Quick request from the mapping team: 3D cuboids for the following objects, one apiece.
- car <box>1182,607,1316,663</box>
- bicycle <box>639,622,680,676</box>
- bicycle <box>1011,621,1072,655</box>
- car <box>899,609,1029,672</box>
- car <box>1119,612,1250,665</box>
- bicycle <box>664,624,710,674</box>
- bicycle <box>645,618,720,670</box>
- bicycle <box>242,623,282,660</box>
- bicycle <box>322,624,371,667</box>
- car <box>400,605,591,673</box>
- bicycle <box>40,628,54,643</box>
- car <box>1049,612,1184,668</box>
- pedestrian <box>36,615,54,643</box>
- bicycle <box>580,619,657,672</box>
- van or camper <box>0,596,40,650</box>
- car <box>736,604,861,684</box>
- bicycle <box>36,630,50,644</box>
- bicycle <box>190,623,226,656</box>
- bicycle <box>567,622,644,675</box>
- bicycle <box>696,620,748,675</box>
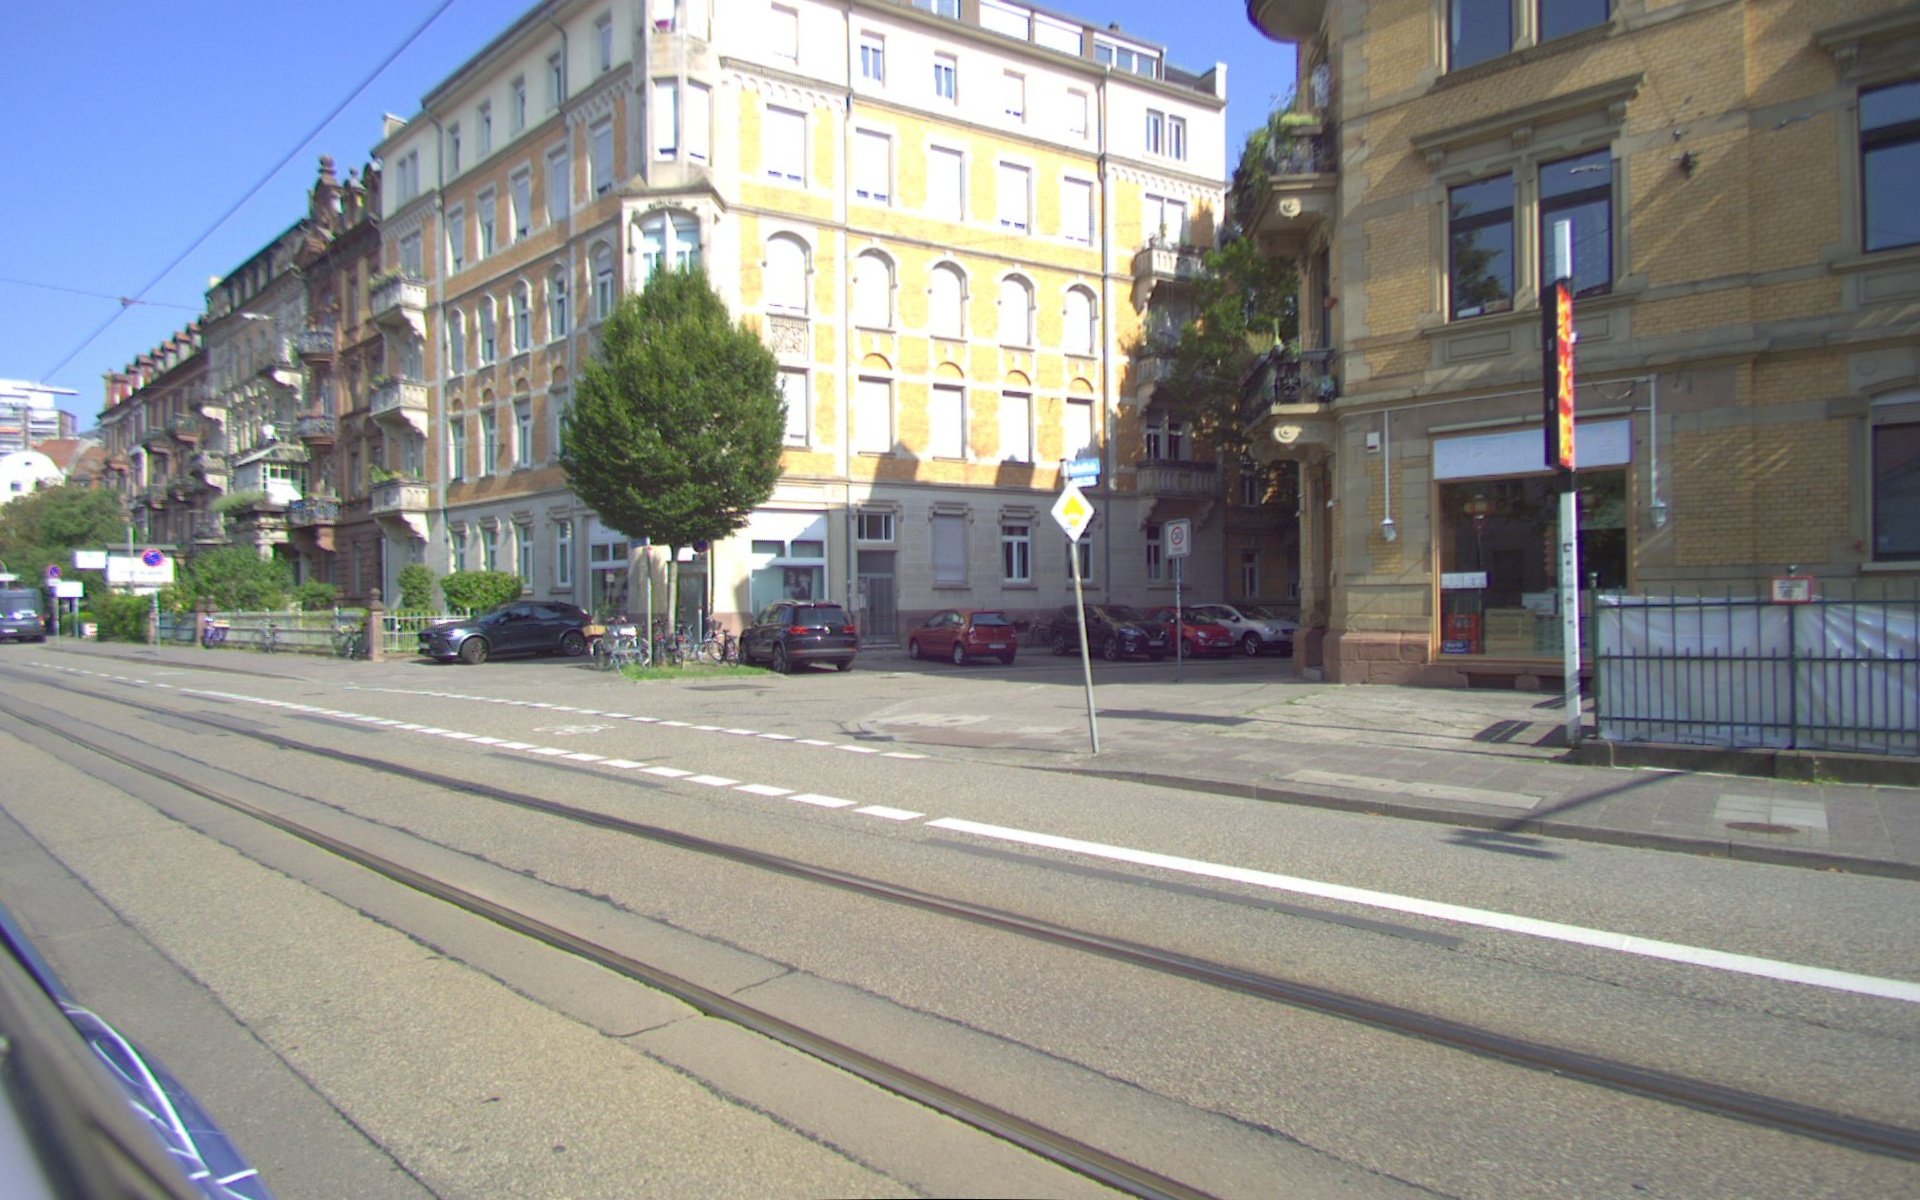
[{"bbox_3d":[8.948,1.063,31.648,1.738,1.618,3.902,0,-1,-30],"label":"car"},{"bbox_3d":[-6.878,1.099,23.099,0.475,1.168,1.778,0,-1,-30],"label":"bicycle"},{"bbox_3d":[2.661,1.236,33.056,1.977,1.076,0.595,0,-1,-29],"label":"bicycle"},{"bbox_3d":[0.034,1.039,27.217,1.738,1.538,3.779,0,-1,-32],"label":"car"},{"bbox_3d":[6.708,1.116,30.574,1.738,1.466,3.779,0,-1,-32],"label":"car"},{"bbox_3d":[-6.344,1.119,23.432,0.534,1.098,1.842,0,-1,-31],"label":"bicycle"},{"bbox_3d":[-6.964,1.078,25.415,1.744,1.266,0.544,0,-1,-36],"label":"bicycle"},{"bbox_3d":[-21.728,1.282,31.502,1.839,1.066,0.539,-1,3,42],"label":"bicycle"},{"bbox_3d":[-16.368,1.209,26.968,1.839,1.066,0.539,-1,3,42],"label":"bicycle"},{"bbox_3d":[-12.144,0.942,26.652,2.062,1.554,4.096,0,1,39],"label":"car"},{"bbox_3d":[-57.142,2.241,63.351,1.702,0.934,0.520,-2,-1,43],"label":"bicycle"},{"bbox_3d":[4.416,1.084,29.101,1.738,1.466,3.958,0,0,-29],"label":"car"},{"bbox_3d":[-56.837,1.790,62.874,0.631,1.691,0.633,-2,-1,28],"label":"pedestrian"},{"bbox_3d":[-8.049,1.061,23.916,0.541,1.190,1.844,-1,-1,29],"label":"bicycle"},{"bbox_3d":[-48.571,1.156,51.853,2.026,2.664,6.096,1,-1,-43],"label":"van or camper"},{"bbox_3d":[-3.935,0.965,24.160,1.738,1.672,3.780,-2,1,-29],"label":"car"},{"bbox_3d":[-58.410,2.379,64.468,1.702,0.866,0.520,-2,-1,43],"label":"bicycle"},{"bbox_3d":[-26.257,1.377,35.328,1.839,1.066,0.600,-1,3,42],"label":"bicycle"},{"bbox_3d":[-8.438,1.131,24.136,0.541,1.206,1.835,-1,-1,29],"label":"bicycle"},{"bbox_3d":[-5.653,1.100,23.966,0.534,1.239,1.777,1,-1,-36],"label":"bicycle"}]
